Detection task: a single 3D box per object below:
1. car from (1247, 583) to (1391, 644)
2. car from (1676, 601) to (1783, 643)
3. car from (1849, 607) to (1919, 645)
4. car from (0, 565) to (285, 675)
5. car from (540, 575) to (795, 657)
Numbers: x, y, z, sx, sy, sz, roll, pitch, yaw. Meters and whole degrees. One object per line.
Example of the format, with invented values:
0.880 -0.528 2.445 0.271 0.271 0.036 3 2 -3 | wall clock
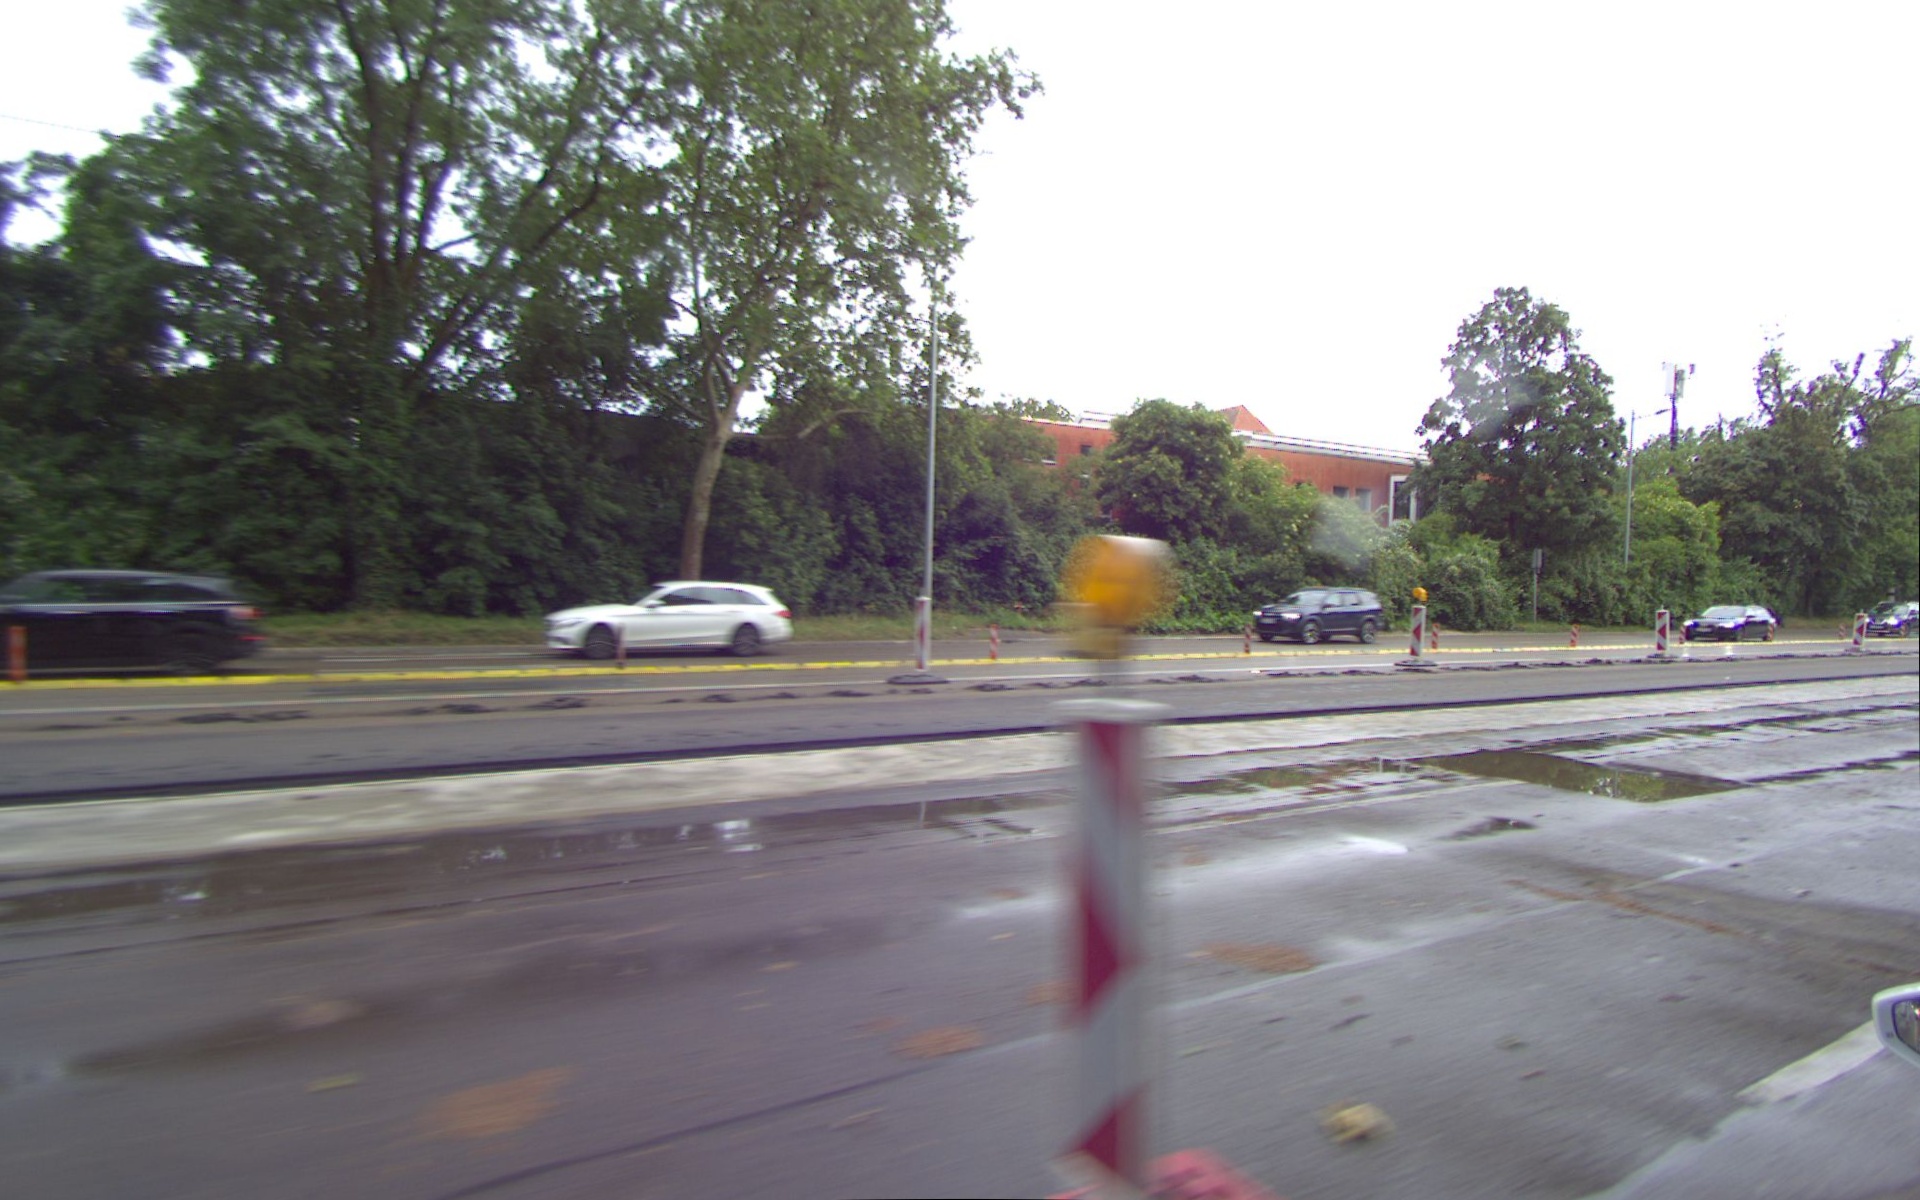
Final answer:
10.944 0.397 30.556 4.481 1.708 1.644 1 2 -31 | car
30.395 0.862 39.638 4.846 1.503 1.750 1 1 -32 | car
45.450 1.254 49.136 4.444 1.745 1.725 1 1 -32 | car
-11.854 0.265 13.813 4.157 1.373 1.808 1 -1 -31 | car
-5.755 0.296 19.915 4.550 1.439 1.808 1 2 -31 | car
